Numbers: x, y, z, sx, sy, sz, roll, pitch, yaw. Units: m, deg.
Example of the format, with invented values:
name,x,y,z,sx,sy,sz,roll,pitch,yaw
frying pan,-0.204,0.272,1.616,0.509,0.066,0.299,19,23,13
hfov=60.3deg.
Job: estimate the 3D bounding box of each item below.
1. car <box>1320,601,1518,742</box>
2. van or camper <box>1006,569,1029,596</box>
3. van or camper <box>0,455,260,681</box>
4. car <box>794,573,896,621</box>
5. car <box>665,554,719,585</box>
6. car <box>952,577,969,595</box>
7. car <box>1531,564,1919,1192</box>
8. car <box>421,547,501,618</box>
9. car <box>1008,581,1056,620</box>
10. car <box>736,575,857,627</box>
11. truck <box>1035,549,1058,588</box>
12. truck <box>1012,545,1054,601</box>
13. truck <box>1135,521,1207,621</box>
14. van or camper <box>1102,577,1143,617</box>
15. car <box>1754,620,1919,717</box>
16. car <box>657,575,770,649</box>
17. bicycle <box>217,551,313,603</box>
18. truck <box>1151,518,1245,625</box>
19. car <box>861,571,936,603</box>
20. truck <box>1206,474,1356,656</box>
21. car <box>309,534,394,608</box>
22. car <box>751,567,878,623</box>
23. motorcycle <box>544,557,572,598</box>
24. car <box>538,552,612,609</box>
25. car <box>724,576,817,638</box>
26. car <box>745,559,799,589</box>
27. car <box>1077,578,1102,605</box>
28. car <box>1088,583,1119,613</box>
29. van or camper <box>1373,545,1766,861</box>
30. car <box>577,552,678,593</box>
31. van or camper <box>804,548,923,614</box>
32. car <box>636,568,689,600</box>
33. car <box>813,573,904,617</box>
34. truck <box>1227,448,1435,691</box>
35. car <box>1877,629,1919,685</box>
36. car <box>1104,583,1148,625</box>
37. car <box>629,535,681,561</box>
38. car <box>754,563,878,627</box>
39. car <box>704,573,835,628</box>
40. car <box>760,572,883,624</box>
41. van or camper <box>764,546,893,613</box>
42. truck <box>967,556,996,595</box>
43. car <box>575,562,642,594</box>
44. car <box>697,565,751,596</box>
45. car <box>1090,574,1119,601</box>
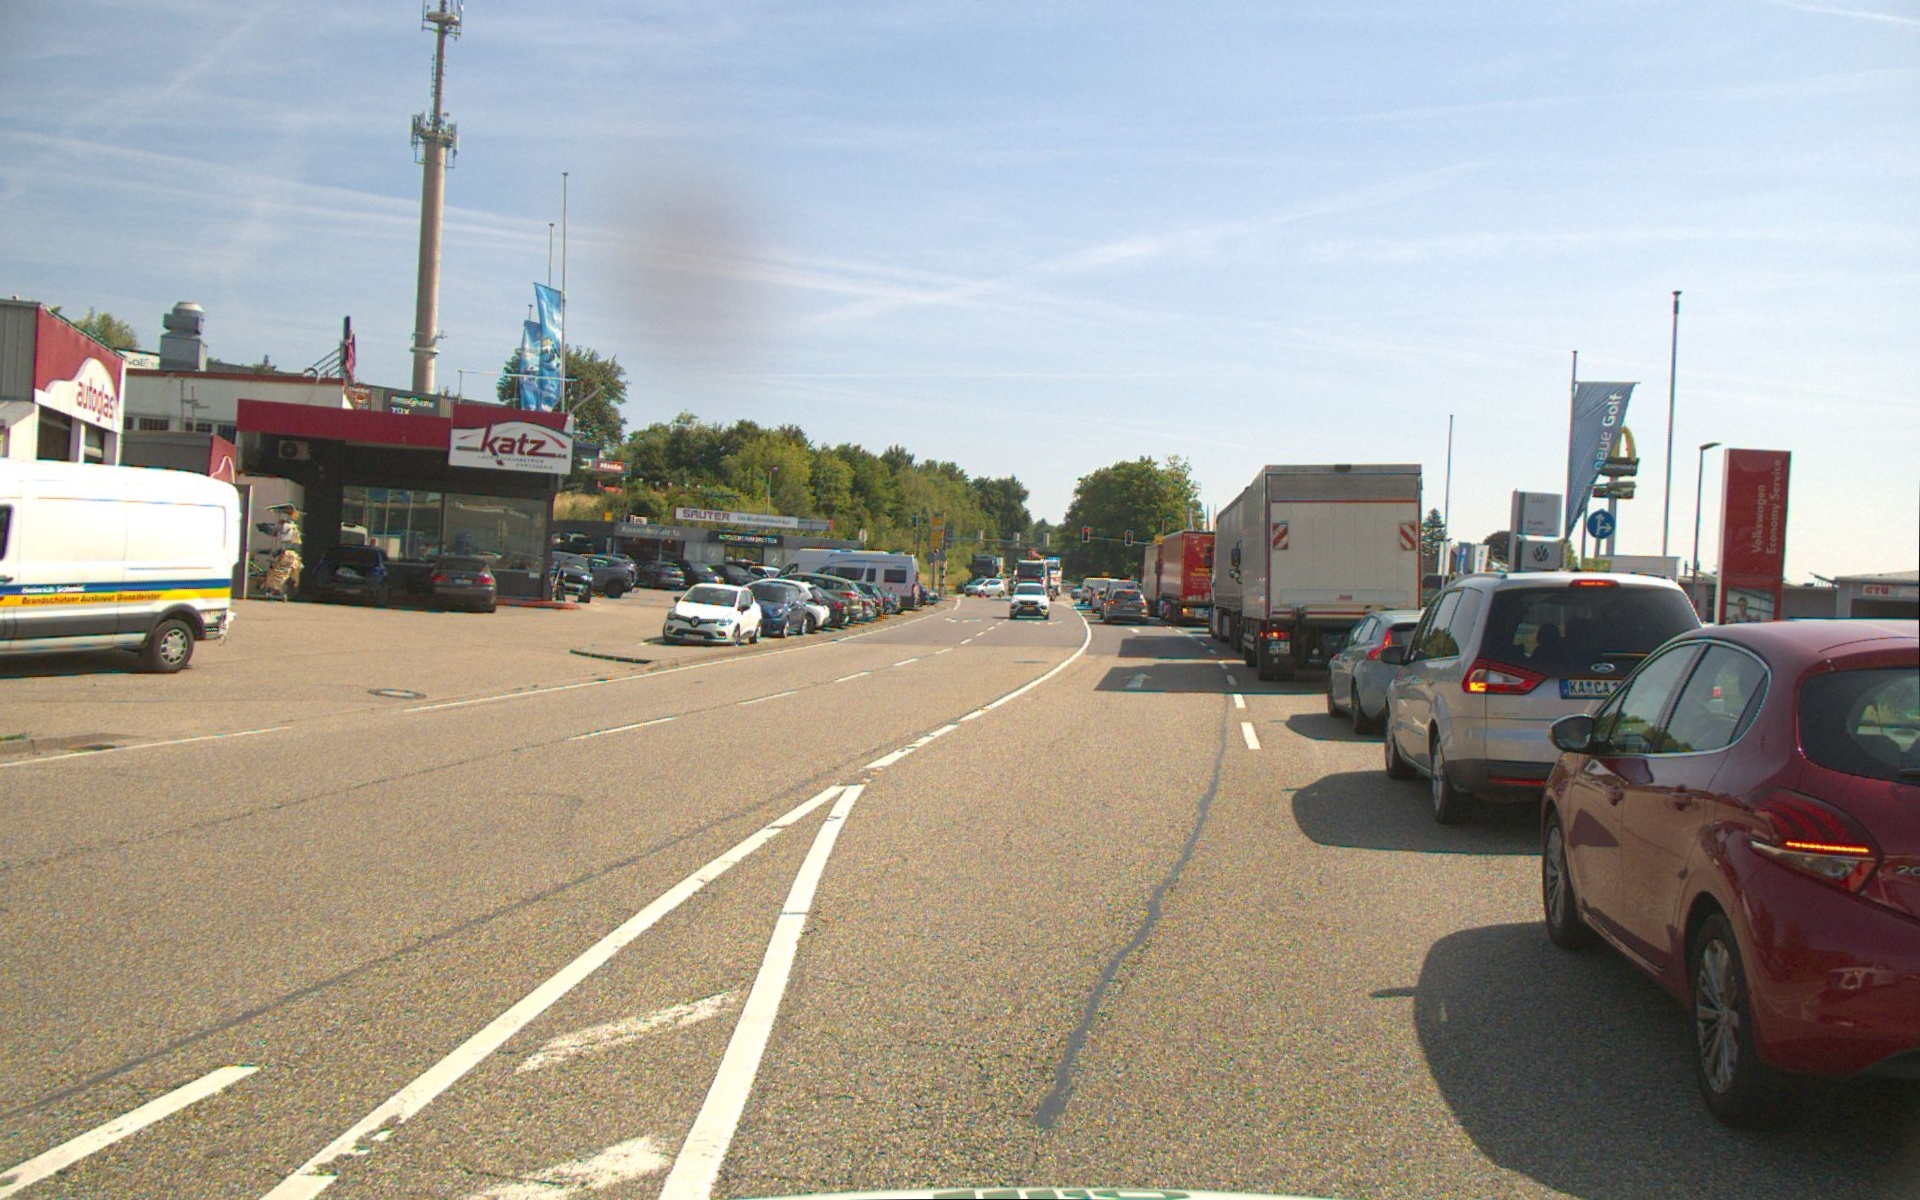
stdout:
name,x,y,z,sx,sy,sz,roll,pitch,yaw
car,5.485,0.780,20.229,1.698,1.453,4.228,3,0,7
van or camper,5.809,-1.725,165.843,2.128,2.595,4.172,3,1,3
van or camper,-11.467,-0.458,19.785,2.110,2.541,5.952,6,2,19
car,-4.579,-0.119,66.191,3.766,1.510,1.802,6,1,2
car,-14.883,-1.691,91.688,1.744,1.616,3.793,1,1,-29
car,0.055,-1.680,198.057,1.953,2.049,3.999,3,0,-1
car,3.298,0.715,5.966,1.762,1.599,3.717,1,0,10
car,-13.279,-0.497,43.968,1.825,1.530,4.376,5,2,-18
car,3.293,0.019,75.325,1.894,1.703,4.003,0,0,7
car,-5.236,0.024,53.330,3.630,1.552,1.793,1,1,2
truck,10.072,-3.573,191.240,2.499,4.382,7.599,1,1,4
truck,5.895,-2.140,132.782,2.894,4.282,10.654,0,1,5
truck,12.335,-1.660,98.171,2.998,5.311,17.016,2,1,4
van or camper,8.255,-0.174,84.129,1.814,1.939,3.786,3,1,3
car,14.671,1.066,26.364,3.527,1.434,1.556,1,0,-17
car,-5.986,0.270,40.574,1.741,1.646,4.003,3,1,6
bicycle,-16.399,-0.542,39.060,1.961,0.988,0.413,7,-1,-17
truck,10.935,-1.308,77.634,2.895,4.344,16.593,2,1,4
car,-3.198,-0.697,86.469,3.737,1.566,1.843,2,1,3
truck,9.041,-0.929,48.582,2.829,4.340,16.721,2,1,6
car,-15.675,-0.779,42.762,1.826,1.530,3.980,6,2,-19
car,-5.131,-0.183,58.785,4.190,1.510,1.837,6,1,2
motorcycle,-12.895,-0.726,53.043,0.757,1.283,2.046,1,0,-16
car,-13.332,-0.657,57.131,1.796,1.703,4.102,8,-2,-20
car,-5.412,0.180,47.731,1.742,1.519,3.784,6,1,6
car,-10.745,-1.471,94.183,1.744,1.616,3.793,1,1,-29
car,9.777,-0.603,124.955,1.690,1.942,3.314,3,0,7
car,8.095,-0.107,93.500,1.690,1.545,3.314,3,0,4
van or camper,4.302,0.606,12.530,1.709,1.818,5.137,2,0,8
car,-13.733,-1.139,68.285,3.878,1.559,1.759,1,1,-19
van or camper,-4.449,-0.889,76.628,5.135,2.779,2.212,2,1,5
car,-16.183,-0.882,89.886,1.744,1.616,3.793,1,1,-29
car,-4.321,-0.232,70.878,3.632,1.510,1.708,6,1,2
truck,6.960,-0.549,32.611,2.818,3.877,11.150,2,1,7
car,26.474,1.557,44.891,1.525,1.434,3.598,1,0,7
car,6.995,0.145,69.415,1.752,1.667,3.506,2,0,7
car,-18.979,-3.256,102.935,1.718,1.476,3.700,3,0,-37
car,-4.833,-0.181,55.859,3.807,1.745,1.807,6,1,2
car,-5.835,0.005,51.001,3.717,1.552,1.847,2,1,2
car,-5.254,-0.095,63.169,4.368,1.510,1.772,6,1,2
van or camper,-6.263,-1.011,79.256,5.768,2.923,2.291,2,1,4
truck,2.145,-2.522,168.007,2.755,3.852,6.990,1,1,0
car,-18.970,-1.204,89.149,3.765,1.616,1.757,2,1,44
car,-13.259,-1.101,92.699,1.744,1.616,3.793,1,1,-29
car,8.935,-0.743,102.384,1.690,1.545,3.314,3,0,5
